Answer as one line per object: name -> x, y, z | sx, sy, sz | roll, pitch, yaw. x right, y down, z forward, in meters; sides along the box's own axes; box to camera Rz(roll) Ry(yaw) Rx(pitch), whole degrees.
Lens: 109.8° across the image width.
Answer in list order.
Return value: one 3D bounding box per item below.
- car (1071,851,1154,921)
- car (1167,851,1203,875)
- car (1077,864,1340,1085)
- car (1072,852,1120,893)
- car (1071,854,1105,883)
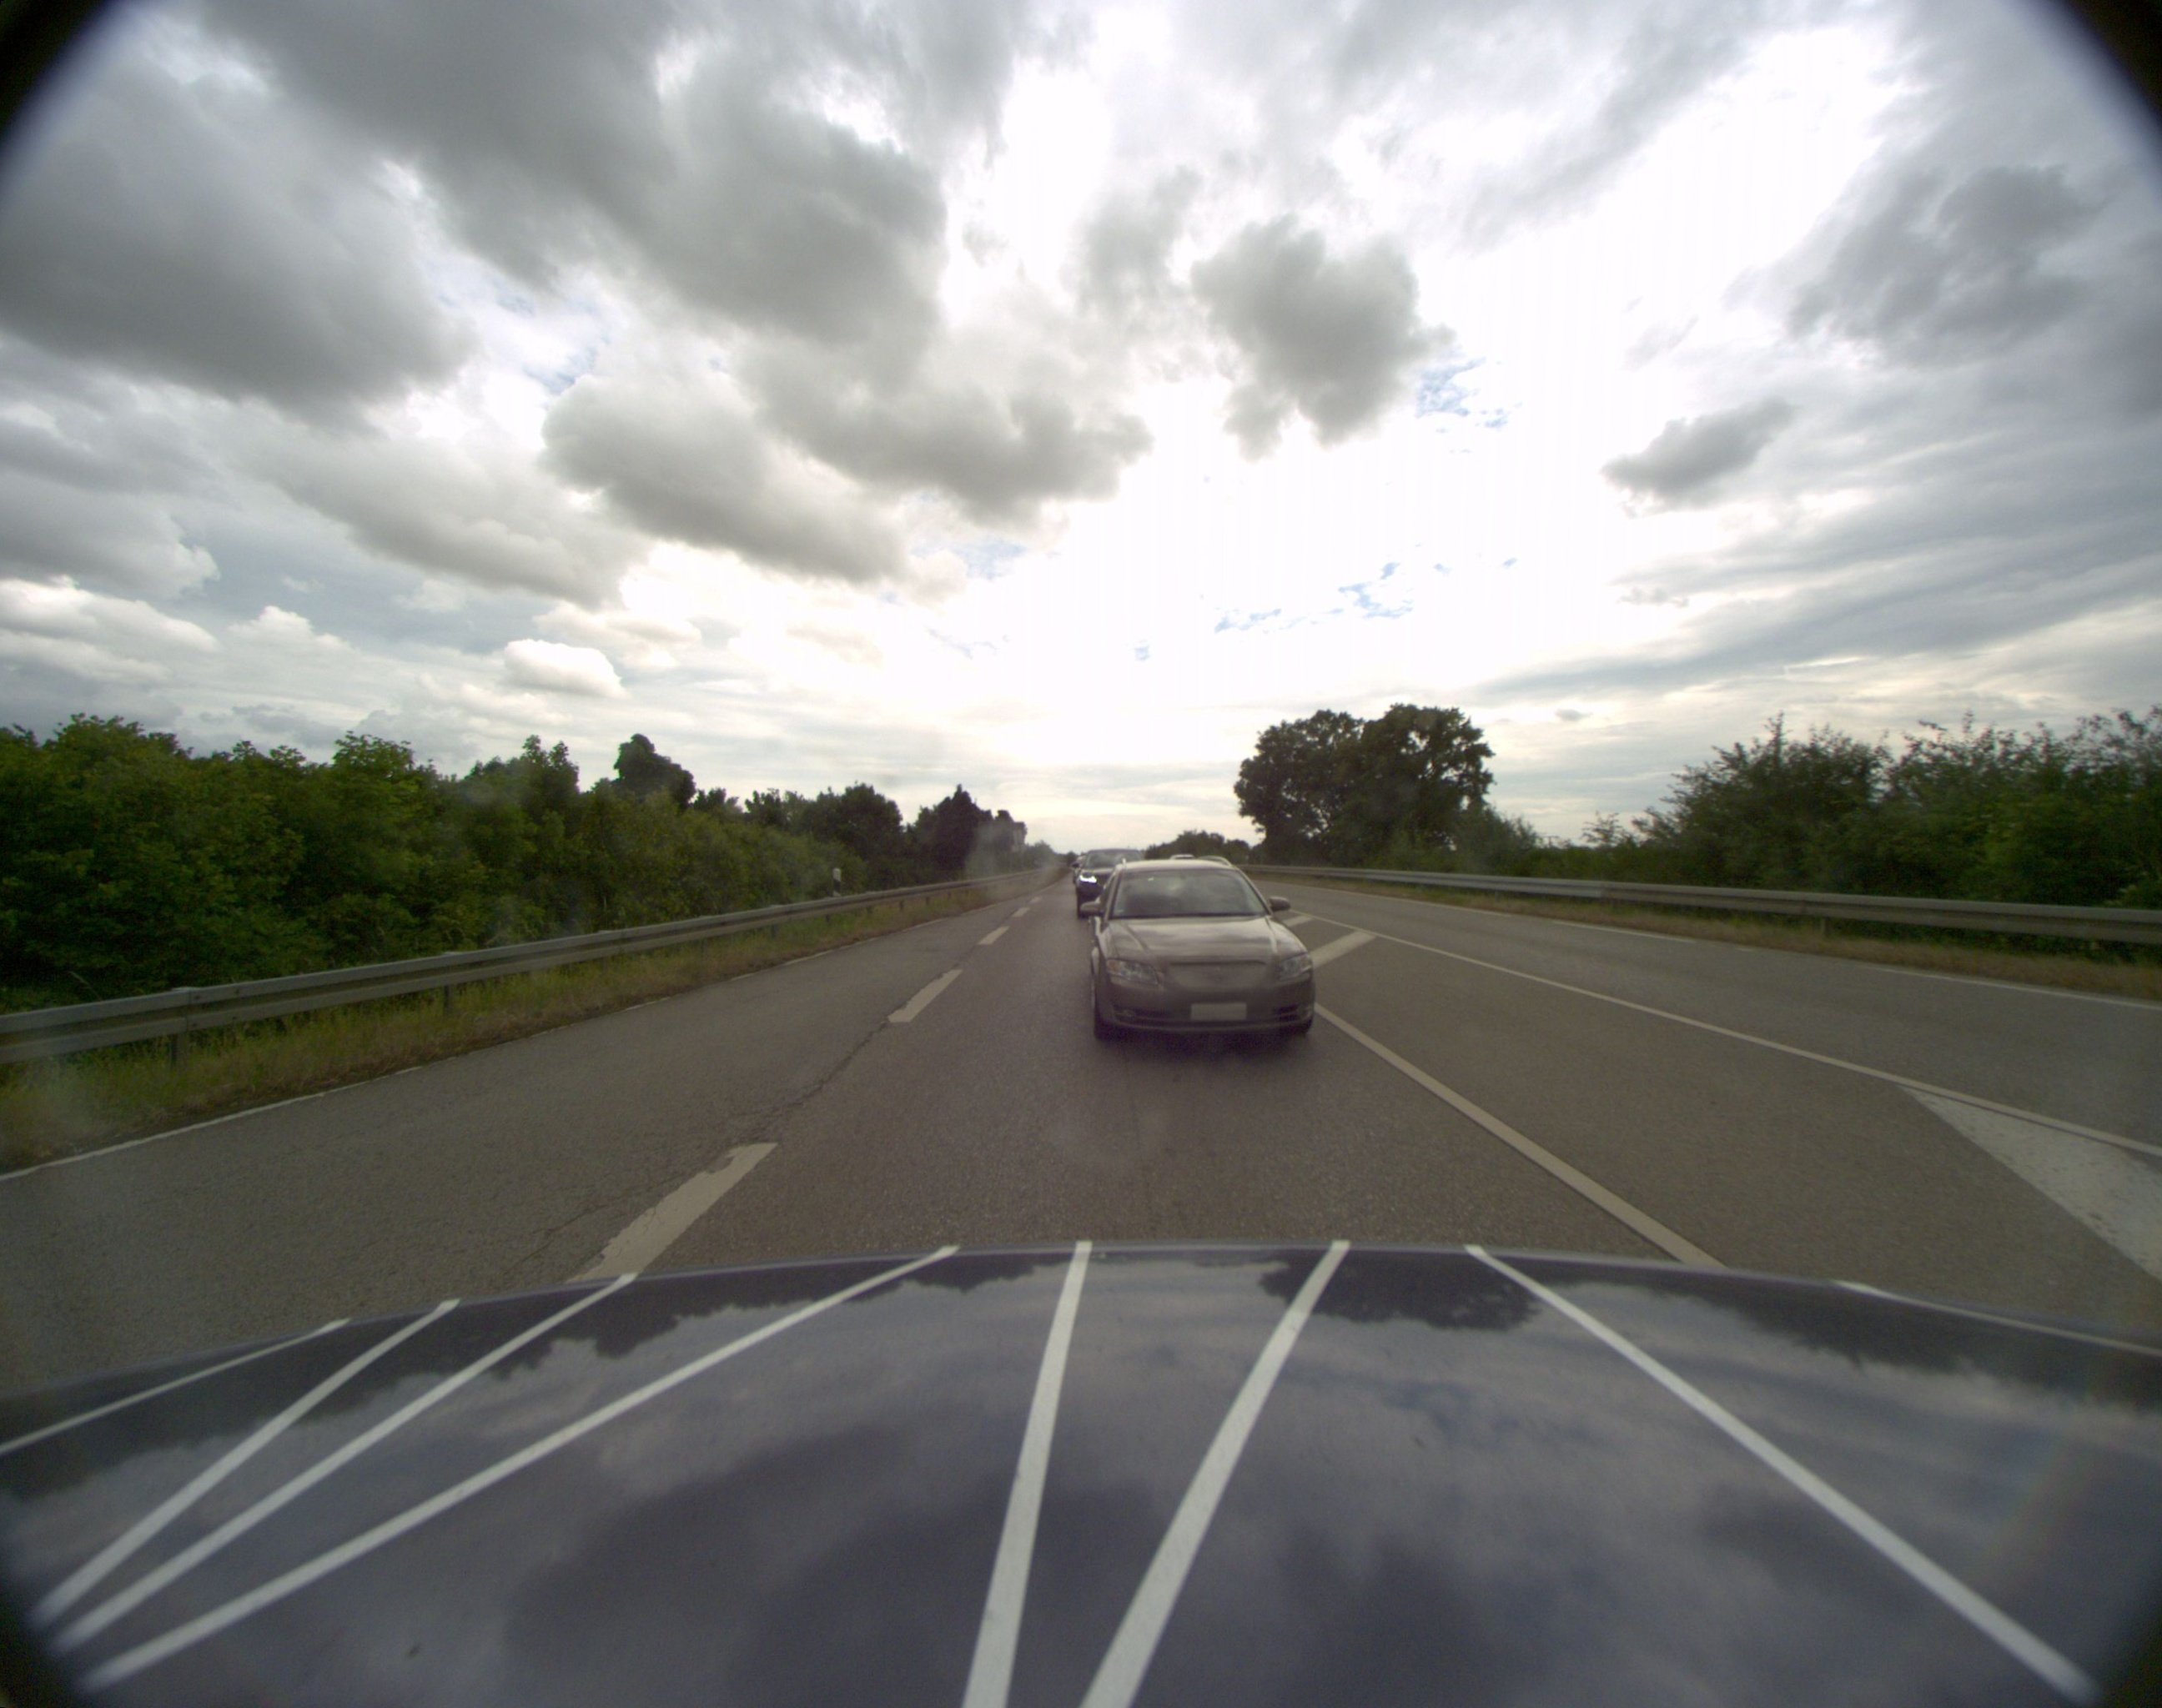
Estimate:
car -> 0.741, 0.728, 19.155 | 1.834, 1.537, 4.035 | -1, 0, 1
car -> 6.507, 0.565, 48.040 | 1.824, 1.366, 4.611 | -1, 1, 3
car -> 0.904, 0.860, 7.264 | 1.784, 1.442, 4.035 | -1, 0, 1
car -> 0.600, 0.730, 31.588 | 1.834, 1.537, 4.035 | -1, 0, 1
car -> 0.435, 0.802, 44.030 | 1.834, 1.537, 4.035 | -1, 0, 1
